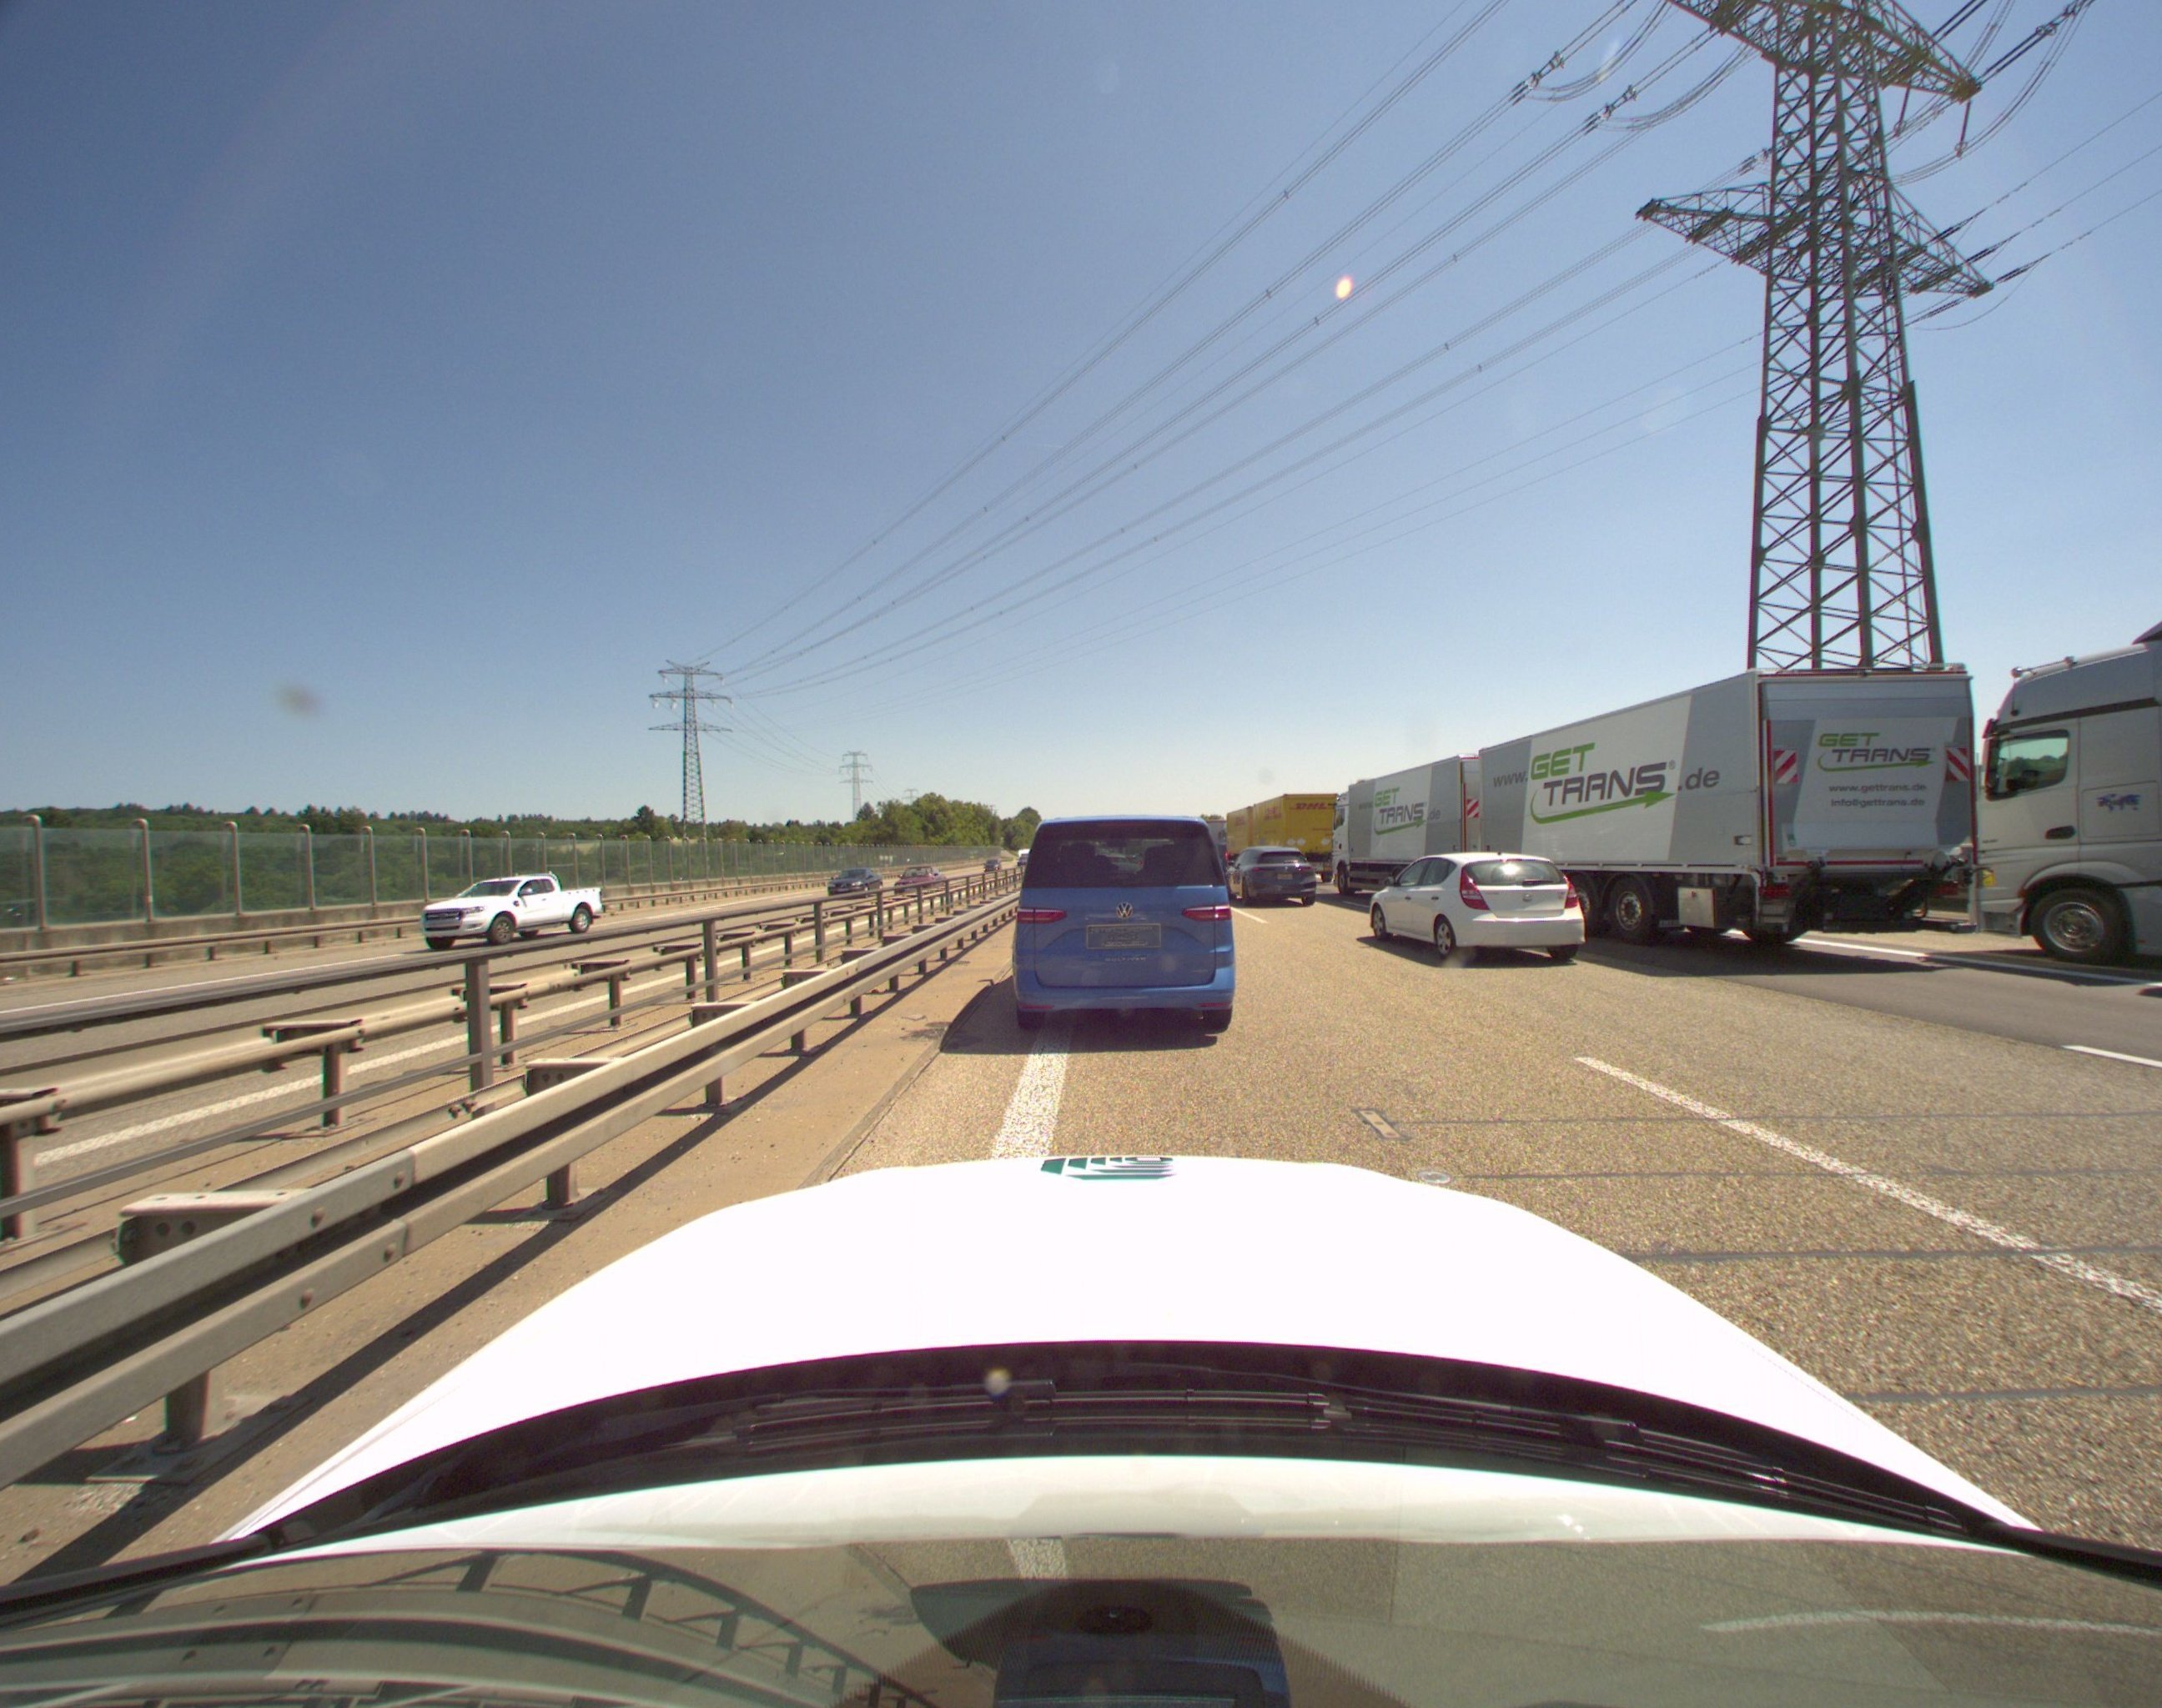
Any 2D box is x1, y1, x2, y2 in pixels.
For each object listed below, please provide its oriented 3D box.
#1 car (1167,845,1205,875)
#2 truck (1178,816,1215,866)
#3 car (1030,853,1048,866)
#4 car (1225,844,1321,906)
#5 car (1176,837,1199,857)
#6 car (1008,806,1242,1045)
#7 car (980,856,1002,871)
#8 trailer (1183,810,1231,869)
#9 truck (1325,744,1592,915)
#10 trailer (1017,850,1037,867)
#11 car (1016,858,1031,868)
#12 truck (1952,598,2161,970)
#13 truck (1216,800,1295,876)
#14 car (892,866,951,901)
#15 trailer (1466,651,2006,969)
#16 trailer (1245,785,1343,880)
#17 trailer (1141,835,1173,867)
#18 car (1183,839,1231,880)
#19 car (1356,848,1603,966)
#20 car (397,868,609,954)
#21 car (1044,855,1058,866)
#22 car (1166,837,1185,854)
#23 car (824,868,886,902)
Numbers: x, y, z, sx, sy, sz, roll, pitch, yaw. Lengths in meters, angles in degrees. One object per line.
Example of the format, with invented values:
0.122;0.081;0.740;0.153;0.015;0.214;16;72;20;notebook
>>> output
6.770;0.393;52.880;1.986;1.816;4.002;-1;0;2;car
10.769;-1.143;76.586;2.657;4.484;6.853;-1;0;2;truck
-5.230;0.665;100.882;1.784;1.478;3.991;-4;0;2;car
5.599;0.580;24.321;1.954;1.644;4.295;-1;0;2;car
11.282;-0.735;86.378;1.986;2.014;4.002;-1;0;2;car
0.414;0.565;8.418;1.813;1.857;4.076;-1;0;2;car
-9.983;0.989;90.540;1.723;1.491;4.421;-4;0;1;car
10.504;-1.144;69.150;2.627;4.516;11.306;-1;0;2;trailer
9.841;-0.536;23.164;2.647;3.648;11.013;-2;0;1;truck
-8.784;0.755;132.864;2.484;2.549;6.777;-3;0;2;trailer
-8.956;1.322;127.117;1.769;1.407;4.684;-4;0;2;car
13.221;-0.787;8.350;2.507;4.119;5.717;0;0;1;truck
10.729;-0.898;51.338;2.826;4.243;11.014;-1;0;1;truck
-7.023;1.256;36.181;1.592;1.317;4.343;-4;0;1;car
9.633;-0.527;13.638;2.688;3.700;8.017;-2;0;1;trailer
10.532;-0.947;41.271;2.854;4.239;9.015;-1;0;2;trailer
7.583;-0.274;82.516;2.559;2.990;10.668;-1;0;2;trailer
6.629;0.287;43.093;1.954;1.993;4.295;-1;0;2;car
5.808;0.674;12.526;1.782;1.455;4.295;-1;0;2;car
-15.978;1.468;22.985;1.986;1.885;5.257;-4;0;1;car
-4.519;1.005;122.101;1.662;1.448;4.003;-5;0;3;car
12.025;-1.081;103.985;1.986;2.013;4.463;-2;0;2;car
-10.716;1.431;38.876;1.591;1.350;4.181;-4;0;2;car
